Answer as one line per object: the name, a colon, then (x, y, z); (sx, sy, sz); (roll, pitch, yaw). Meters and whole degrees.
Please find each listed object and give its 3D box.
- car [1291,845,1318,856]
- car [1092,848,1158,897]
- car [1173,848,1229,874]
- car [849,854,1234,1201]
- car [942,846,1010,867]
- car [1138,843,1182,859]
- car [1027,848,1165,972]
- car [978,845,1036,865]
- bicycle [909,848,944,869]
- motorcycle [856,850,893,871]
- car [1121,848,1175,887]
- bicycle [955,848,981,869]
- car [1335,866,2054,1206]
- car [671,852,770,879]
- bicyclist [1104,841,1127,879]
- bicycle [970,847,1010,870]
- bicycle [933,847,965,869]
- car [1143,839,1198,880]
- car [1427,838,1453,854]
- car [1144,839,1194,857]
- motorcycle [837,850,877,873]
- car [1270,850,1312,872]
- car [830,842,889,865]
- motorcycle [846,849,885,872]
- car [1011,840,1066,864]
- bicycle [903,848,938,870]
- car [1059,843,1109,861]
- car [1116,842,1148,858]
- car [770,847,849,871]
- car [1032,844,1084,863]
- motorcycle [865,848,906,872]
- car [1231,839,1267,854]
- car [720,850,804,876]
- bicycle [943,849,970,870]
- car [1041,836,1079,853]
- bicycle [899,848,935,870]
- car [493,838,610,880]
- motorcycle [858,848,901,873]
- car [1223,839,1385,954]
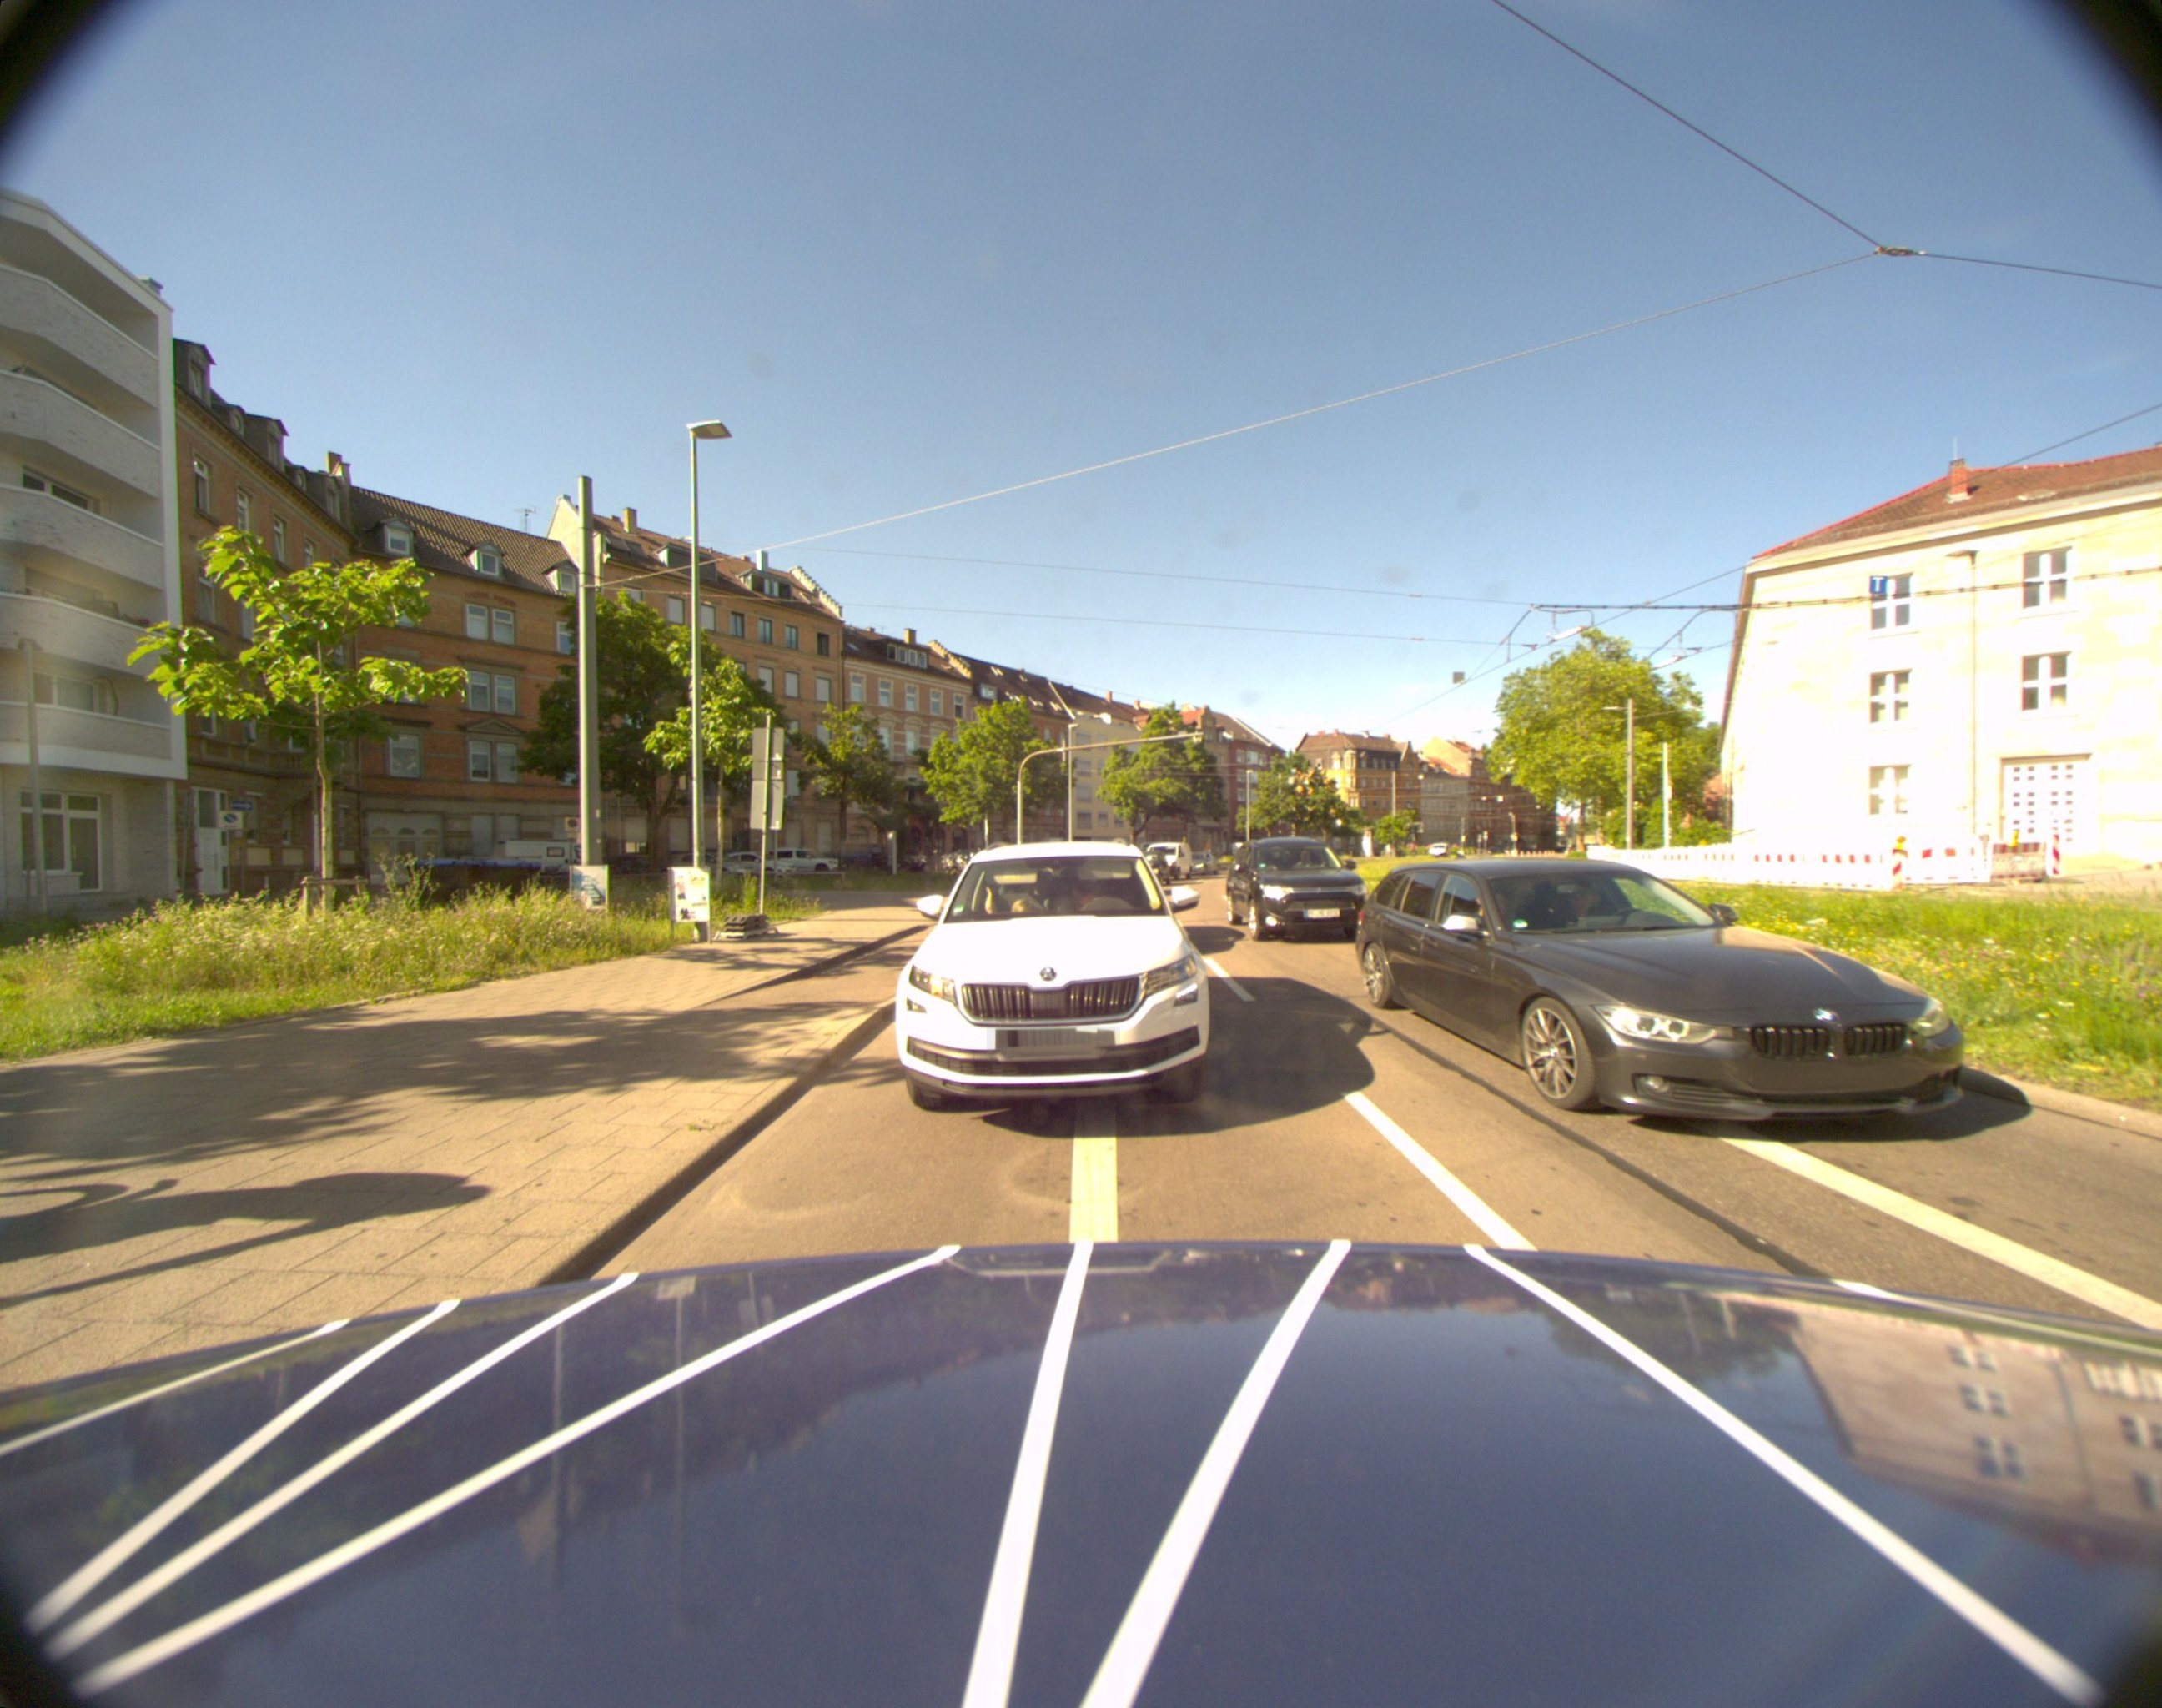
car: (37.559, -0.542, 127.818); (3.989, 1.641, 1.866); (-2, 1, 31)
car: (1.643, 0.597, 26.964); (1.838, 1.543, 4.151); (0, 1, 10)
car: (7.515, 0.390, 47.167); (1.836, 1.464, 4.722); (1, 1, 31)
car: (-0.228, 0.854, 5.956); (1.842, 1.636, 4.397); (-2, 0, -1)
car: (-7.043, 0.172, 51.302); (4.322, 1.398, 1.682); (0, 1, 3)
car: (7.126, -0.252, 68.186); (3.823, 1.372, 1.600); (0, 1, 9)
car: (0.235, 0.762, 12.615); (1.842, 1.636, 4.397); (-2, 0, 1)
car: (-5.227, 0.084, 53.971); (3.822, 1.398, 1.683); (0, 1, 9)
bicycle: (-9.510, 0.276, 46.718); (2.198, 1.260, 0.664); (-2, 1, 32)
motorcycle: (-12.602, 0.398, 46.411); (2.199, 1.260, 0.664); (-2, 1, 24)
car: (3.123, 0.555, 34.873); (1.837, 1.637, 4.152); (0, 1, 14)
bicycle: (-7.123, 0.305, 47.760); (0.664, 1.260, 2.199); (-3, 1, -36)
car: (3.478, 0.850, 5.601); (1.741, 1.359, 4.426); (-2, 0, 1)
car: (-17.500, 0.530, 36.913); (4.156, 1.244, 1.683); (0, 1, 13)
bicyclist: (1.858, 0.294, 40.832); (0.847, 2.002, 1.198); (0, 1, 22)
bicycle: (-5.476, 0.264, 45.746); (2.207, 1.260, 0.662); (-3, 1, -25)
bicycle: (-7.729, 0.237, 44.525); (0.664, 1.260, 2.198); (-3, 1, -45)
car: (4.889, 0.225, 40.984); (1.979, 2.074, 4.719); (0, 1, 19)
car: (44.554, -1.023, 94.162); (1.994, 1.864, 4.599); (-1, 1, 37)
car: (8.198, -0.592, 70.616); (4.578, 1.658, 1.600); (0, 1, 7)
motorcycle: (-13.289, 0.435, 45.026); (2.314, 1.270, 0.664); (-2, 1, 24)
car: (17.536, 0.548, 63.221); (1.835, 1.637, 4.157); (1, 2, 40)
car: (-15.610, -0.061, 53.678); (1.547, 1.578, 3.709); (1, 2, 41)
motorcycle: (-12.940, 0.411, 45.631); (2.314, 1.276, 0.664); (-2, 1, 24)
car: (-3.107, -0.140, 56.111); (3.825, 1.698, 1.682); (0, 1, 3)
bicycle: (-9.707, 0.291, 46.015); (2.198, 1.260, 0.664); (-2, 1, 32)
car: (0.260, -0.163, 61.171); (3.823, 1.398, 1.600); (0, 1, 6)
car: (5.469, -0.426, 80.734); (1.547, 1.578, 3.607); (1, 2, 41)
car: (-14.681, 0.252, 41.201); (3.700, 1.244, 1.540); (0, 1, 2)
car: (-1.776, -0.057, 58.719); (3.823, 1.398, 1.600); (0, 1, 6)
motorcycle: (-11.148, 0.354, 43.300); (2.200, 1.315, 0.664); (-2, 1, 18)
car: (18.695, -0.823, 84.665); (3.823, 1.581, 1.600); (0, 1, 6)
car: (-16.407, 0.436, 39.112); (3.696, 1.244, 1.683); (0, 1, 13)
bicycle: (-7.685, 0.338, 46.767); (0.664, 1.260, 2.199); (-3, 1, -36)
car: (-1.939, -0.946, 71.672); (1.547, 1.578, 3.607); (1, 2, 41)
bicycle: (-9.743, 0.303, 45.077); (2.198, 1.260, 0.664); (-2, 1, 30)
car: (-27.118, 0.212, 39.017); (2.047, 2.026, 4.510); (1, 2, 41)
motorcycle: (-11.178, 0.371, 42.214); (2.200, 1.322, 0.663); (-2, 1, 13)
car: (3.697, 0.626, 13.405); (1.841, 1.636, 4.399); (-2, 0, 5)
